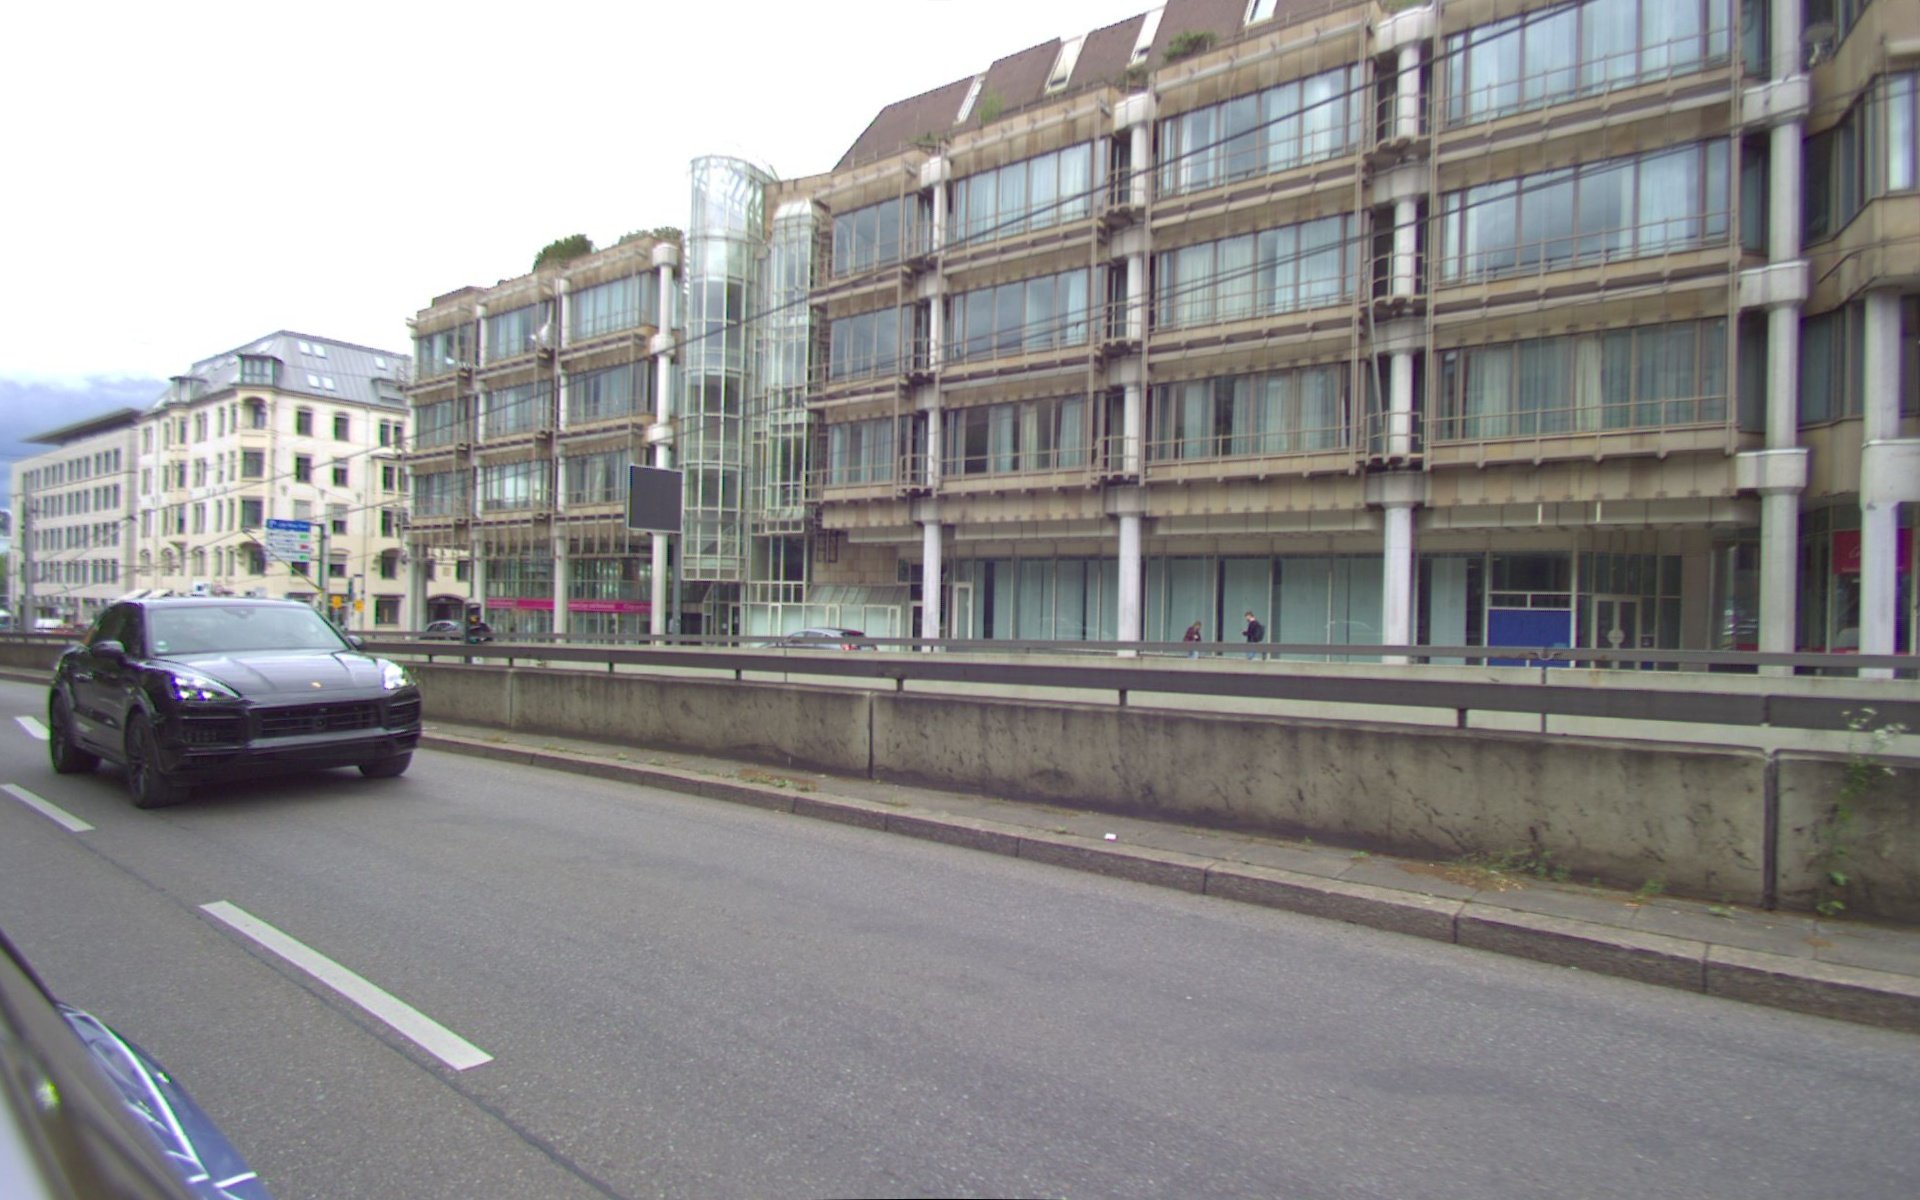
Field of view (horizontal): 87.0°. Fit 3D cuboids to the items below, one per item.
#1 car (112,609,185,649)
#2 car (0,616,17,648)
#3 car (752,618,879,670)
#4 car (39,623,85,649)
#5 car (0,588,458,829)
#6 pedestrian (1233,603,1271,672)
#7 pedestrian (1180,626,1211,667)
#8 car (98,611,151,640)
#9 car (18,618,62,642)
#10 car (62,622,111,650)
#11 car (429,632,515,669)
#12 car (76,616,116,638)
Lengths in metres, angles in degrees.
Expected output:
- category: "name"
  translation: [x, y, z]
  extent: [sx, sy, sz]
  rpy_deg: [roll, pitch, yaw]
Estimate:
- category: "car"
  translation: [-41.312, 1.424, 51.477]
  extent: [4.598, 1.856, 1.817]
  rpy_deg: [-1, 2, 38]
- category: "car"
  translation: [-94.997, 3.118, 99.633]
  extent: [5.460, 3.083, 2.342]
  rpy_deg: [-1, 0, 37]
- category: "car"
  translation: [-4.572, 1.338, 31.659]
  extent: [4.039, 1.512, 1.647]
  rpy_deg: [-1, -2, 39]
- category: "car"
  translation: [-74.541, 2.937, 84.011]
  extent: [4.782, 2.029, 1.975]
  rpy_deg: [-1, 0, 37]
- category: "car"
  translation: [-7.090, 0.815, 9.556]
  extent: [5.343, 1.688, 2.063]
  rpy_deg: [-1, -1, 37]
- category: "pedestrian"
  translation: [7.930, 1.003, 27.476]
  extent: [0.739, 1.825, 0.723]
  rpy_deg: [-1, 0, 38]
- category: "pedestrian"
  translation: [7.508, 1.466, 32.267]
  extent: [0.739, 1.275, 0.723]
  rpy_deg: [-1, 0, 38]
- category: "car"
  translation: [-60.671, 1.831, 73.469]
  extent: [4.782, 2.029, 1.975]
  rpy_deg: [-1, 0, 37]
- category: "car"
  translation: [-80.739, 2.594, 88.794]
  extent: [4.782, 2.029, 1.975]
  rpy_deg: [-1, 0, 37]
- category: "car"
  translation: [-68.147, 2.791, 78.950]
  extent: [4.782, 2.029, 1.975]
  rpy_deg: [-1, 0, 37]
- category: "car"
  translation: [-21.160, 2.155, 43.849]
  extent: [4.408, 1.512, 1.647]
  rpy_deg: [-1, -2, 39]
- category: "car"
  translation: [-78.714, 2.461, 92.191]
  extent: [3.993, 2.029, 1.975]
  rpy_deg: [-1, -2, 37]
